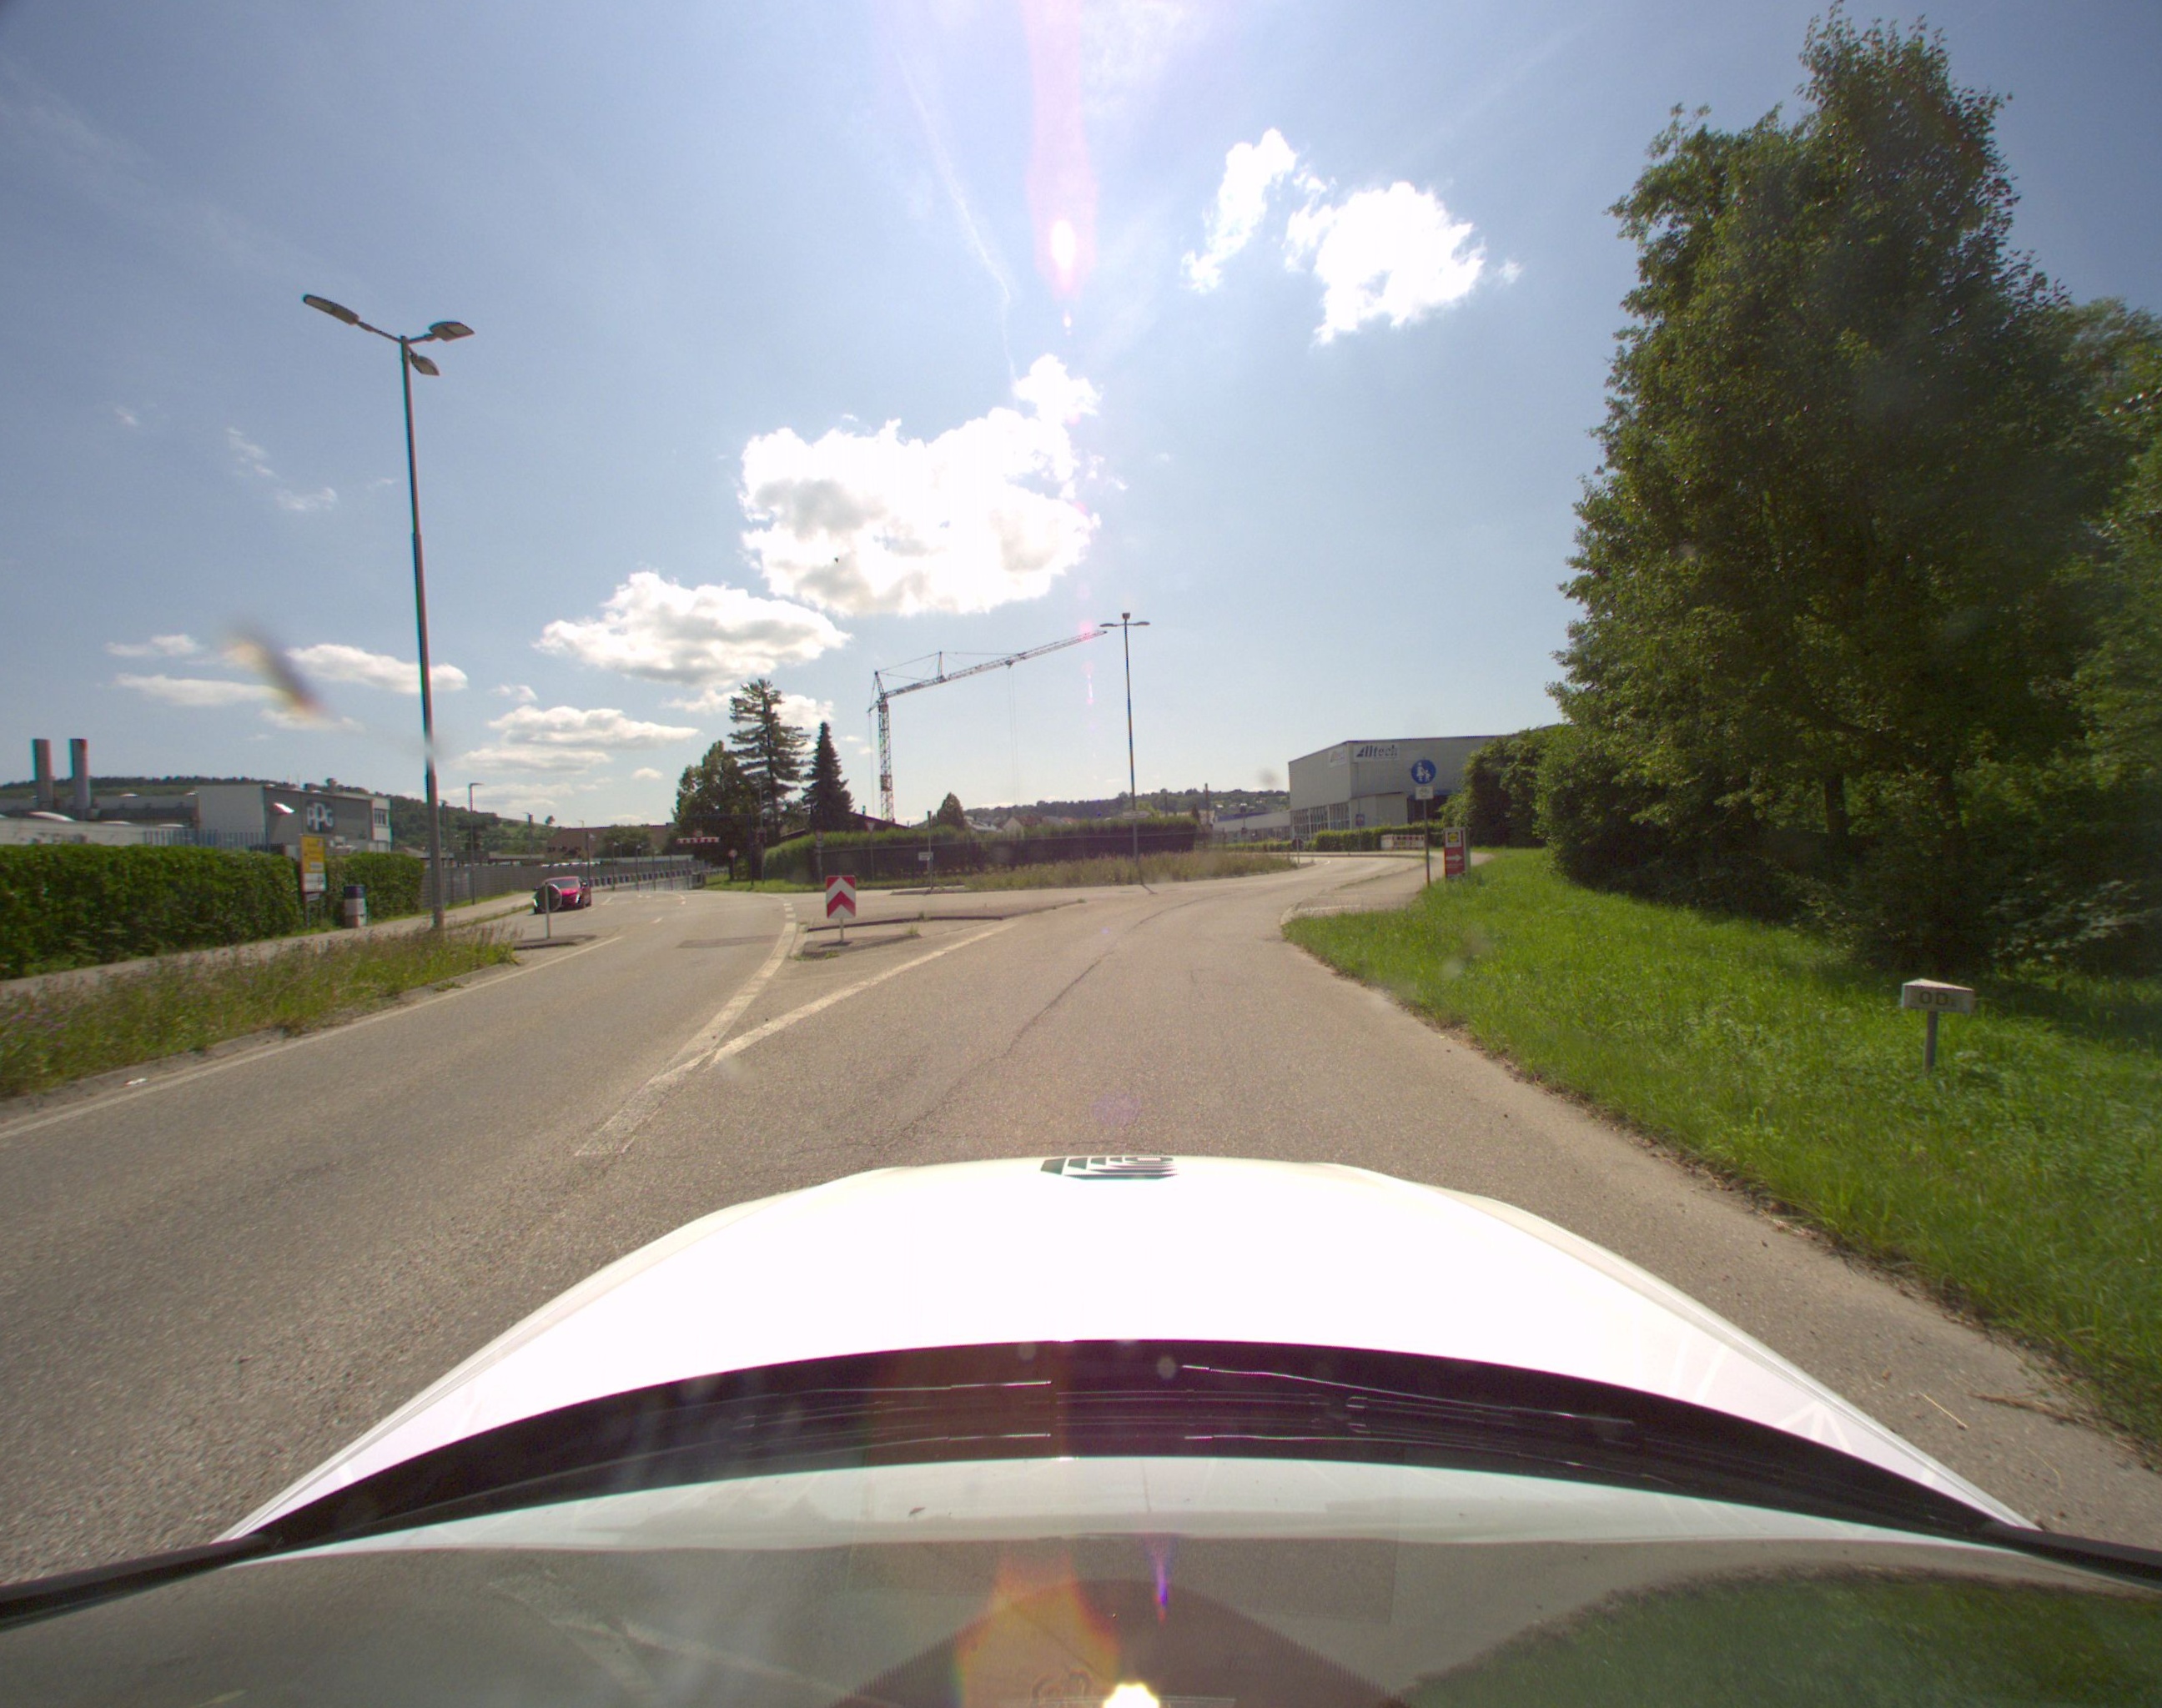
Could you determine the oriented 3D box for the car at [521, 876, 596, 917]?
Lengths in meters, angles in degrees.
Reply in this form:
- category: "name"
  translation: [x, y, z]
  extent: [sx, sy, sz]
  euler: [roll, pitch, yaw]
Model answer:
- category: "car"
  translation: [-22.676, 1.784, 35.524]
  extent: [1.888, 1.464, 4.354]
  euler: [-4, 1, -22]
